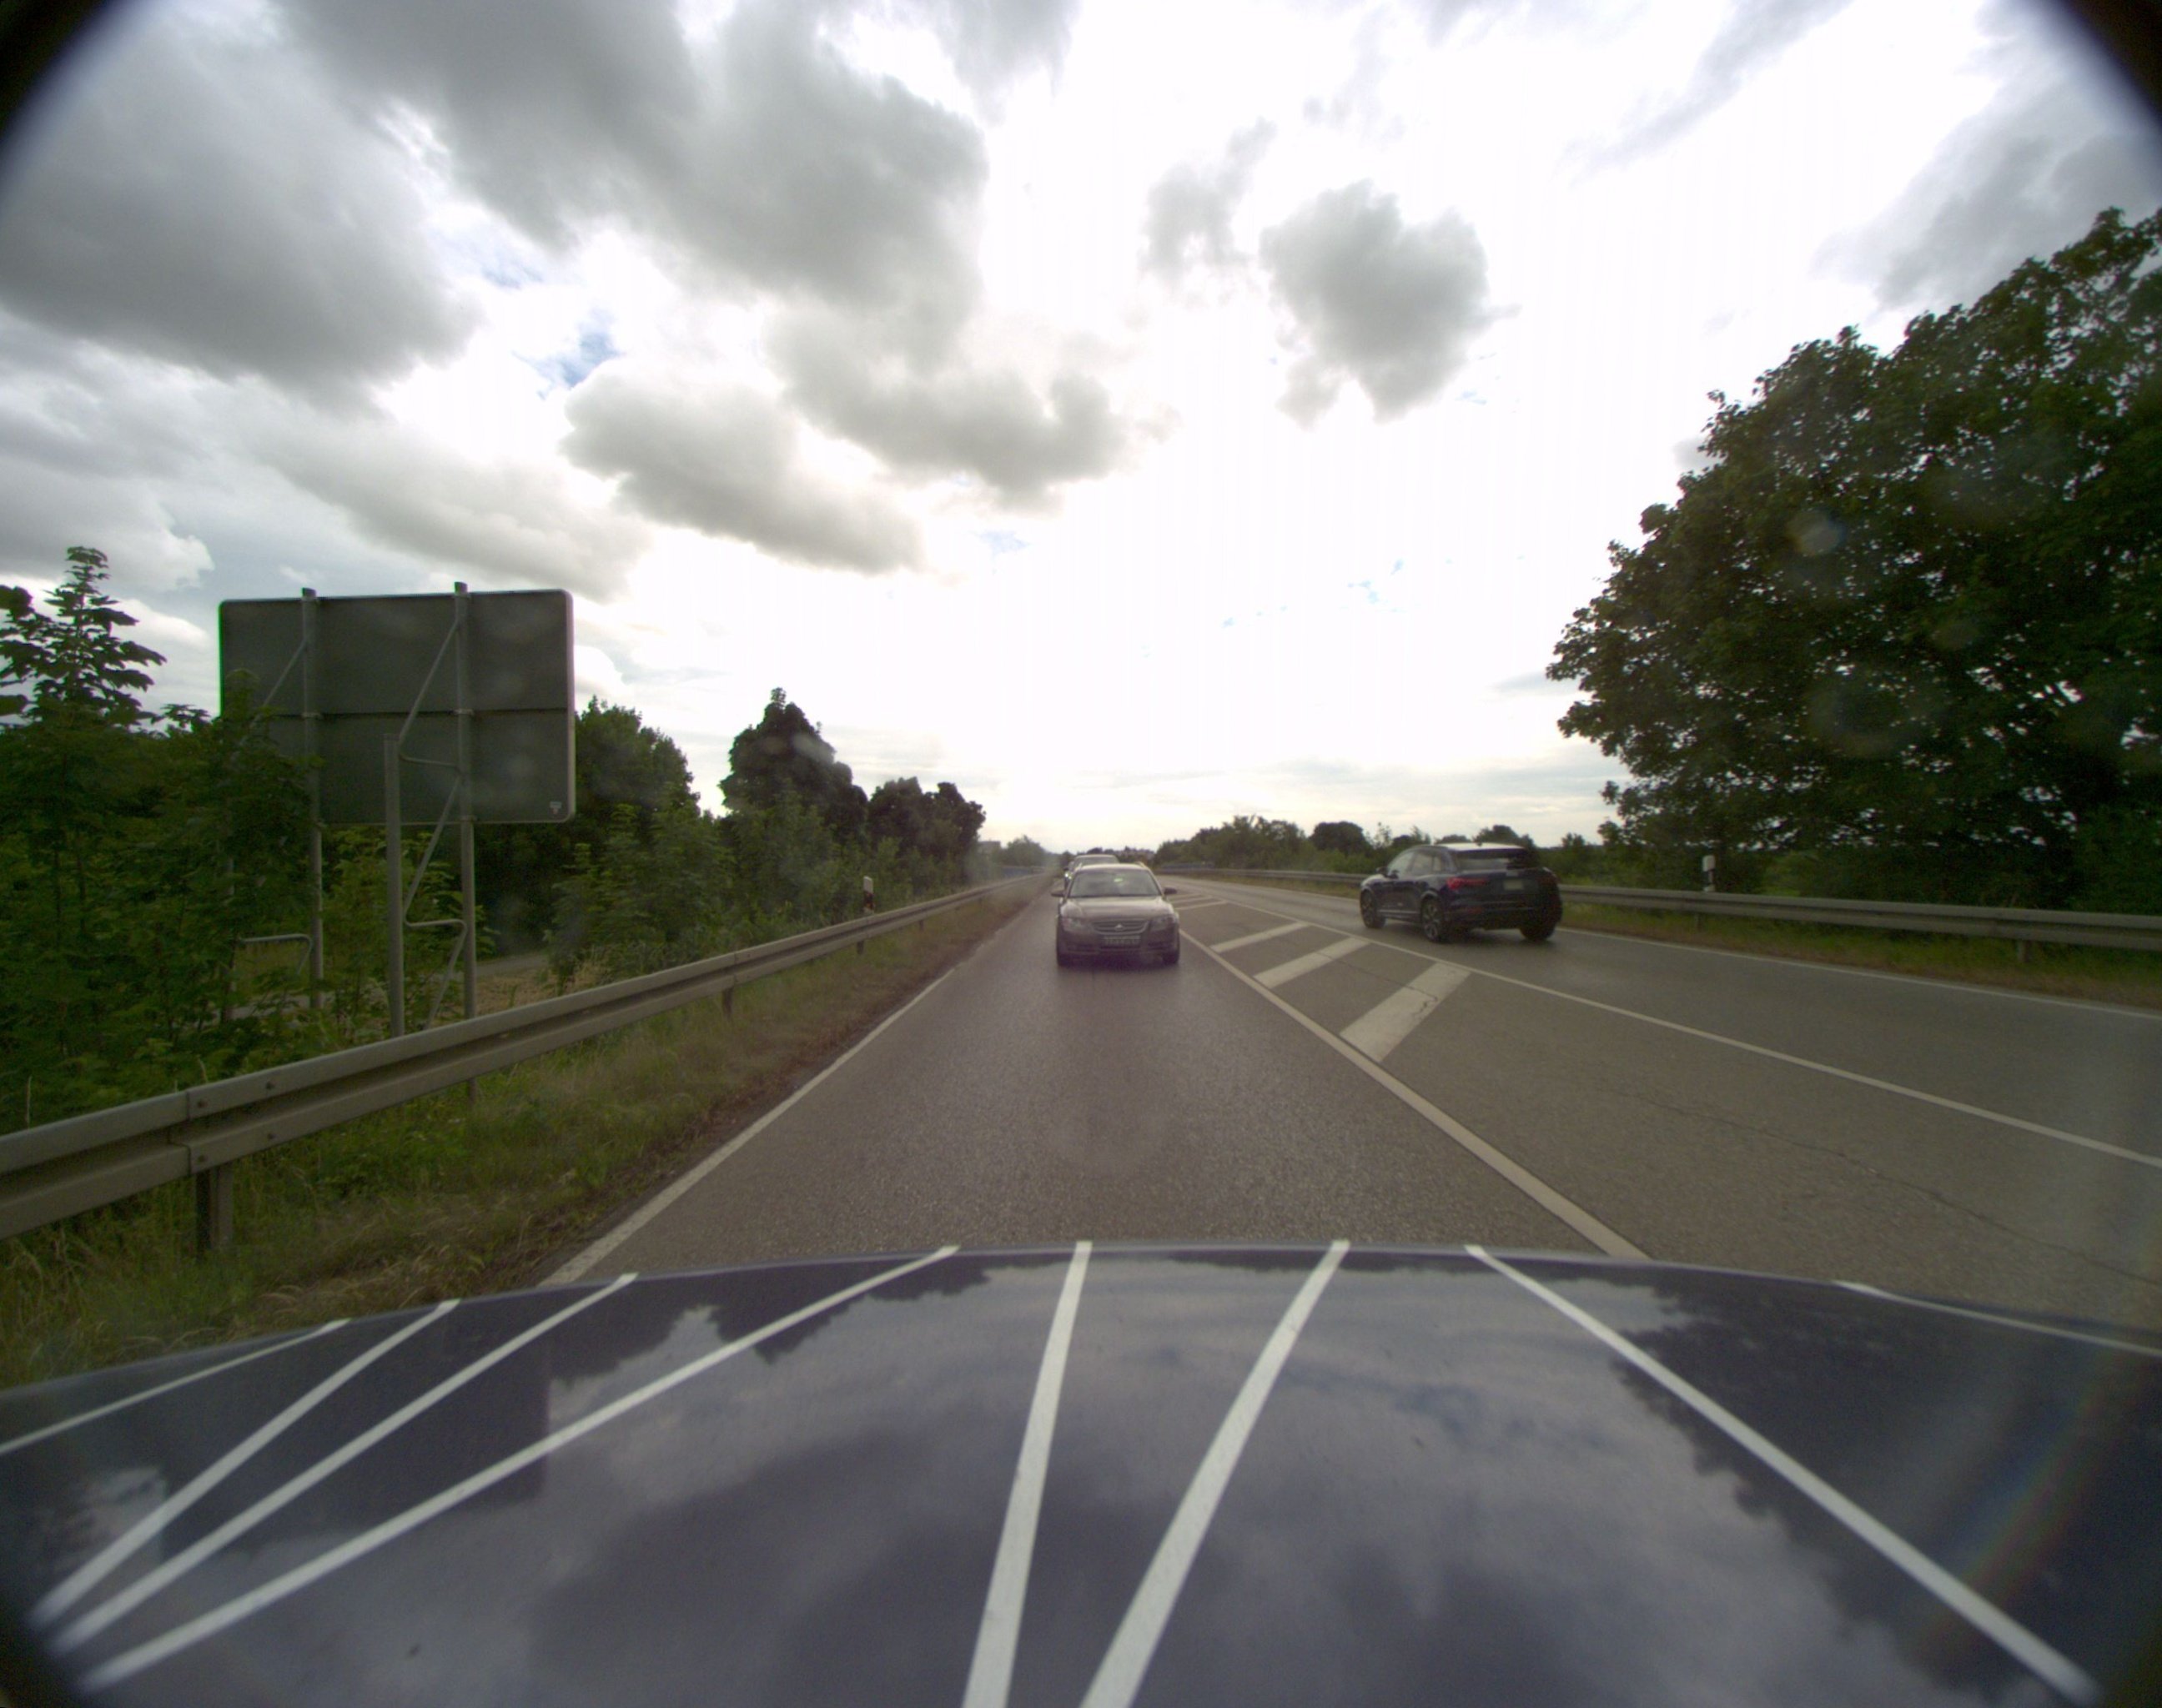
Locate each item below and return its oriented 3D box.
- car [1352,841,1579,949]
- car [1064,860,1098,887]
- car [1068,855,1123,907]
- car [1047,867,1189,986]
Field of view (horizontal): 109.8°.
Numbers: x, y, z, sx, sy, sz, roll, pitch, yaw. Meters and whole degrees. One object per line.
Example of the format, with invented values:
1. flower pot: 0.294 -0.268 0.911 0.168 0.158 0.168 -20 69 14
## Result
1. car: 6.339 0.607 13.140 1.714 1.509 4.209 -2 0 -1
2. car: -0.011 1.012 40.677 1.670 1.339 4.000 -2 0 0
3. car: 0.462 0.824 24.690 1.603 1.493 3.962 -2 0 1
4. car: 0.455 0.956 11.597 1.768 1.383 3.876 -2 0 -1
